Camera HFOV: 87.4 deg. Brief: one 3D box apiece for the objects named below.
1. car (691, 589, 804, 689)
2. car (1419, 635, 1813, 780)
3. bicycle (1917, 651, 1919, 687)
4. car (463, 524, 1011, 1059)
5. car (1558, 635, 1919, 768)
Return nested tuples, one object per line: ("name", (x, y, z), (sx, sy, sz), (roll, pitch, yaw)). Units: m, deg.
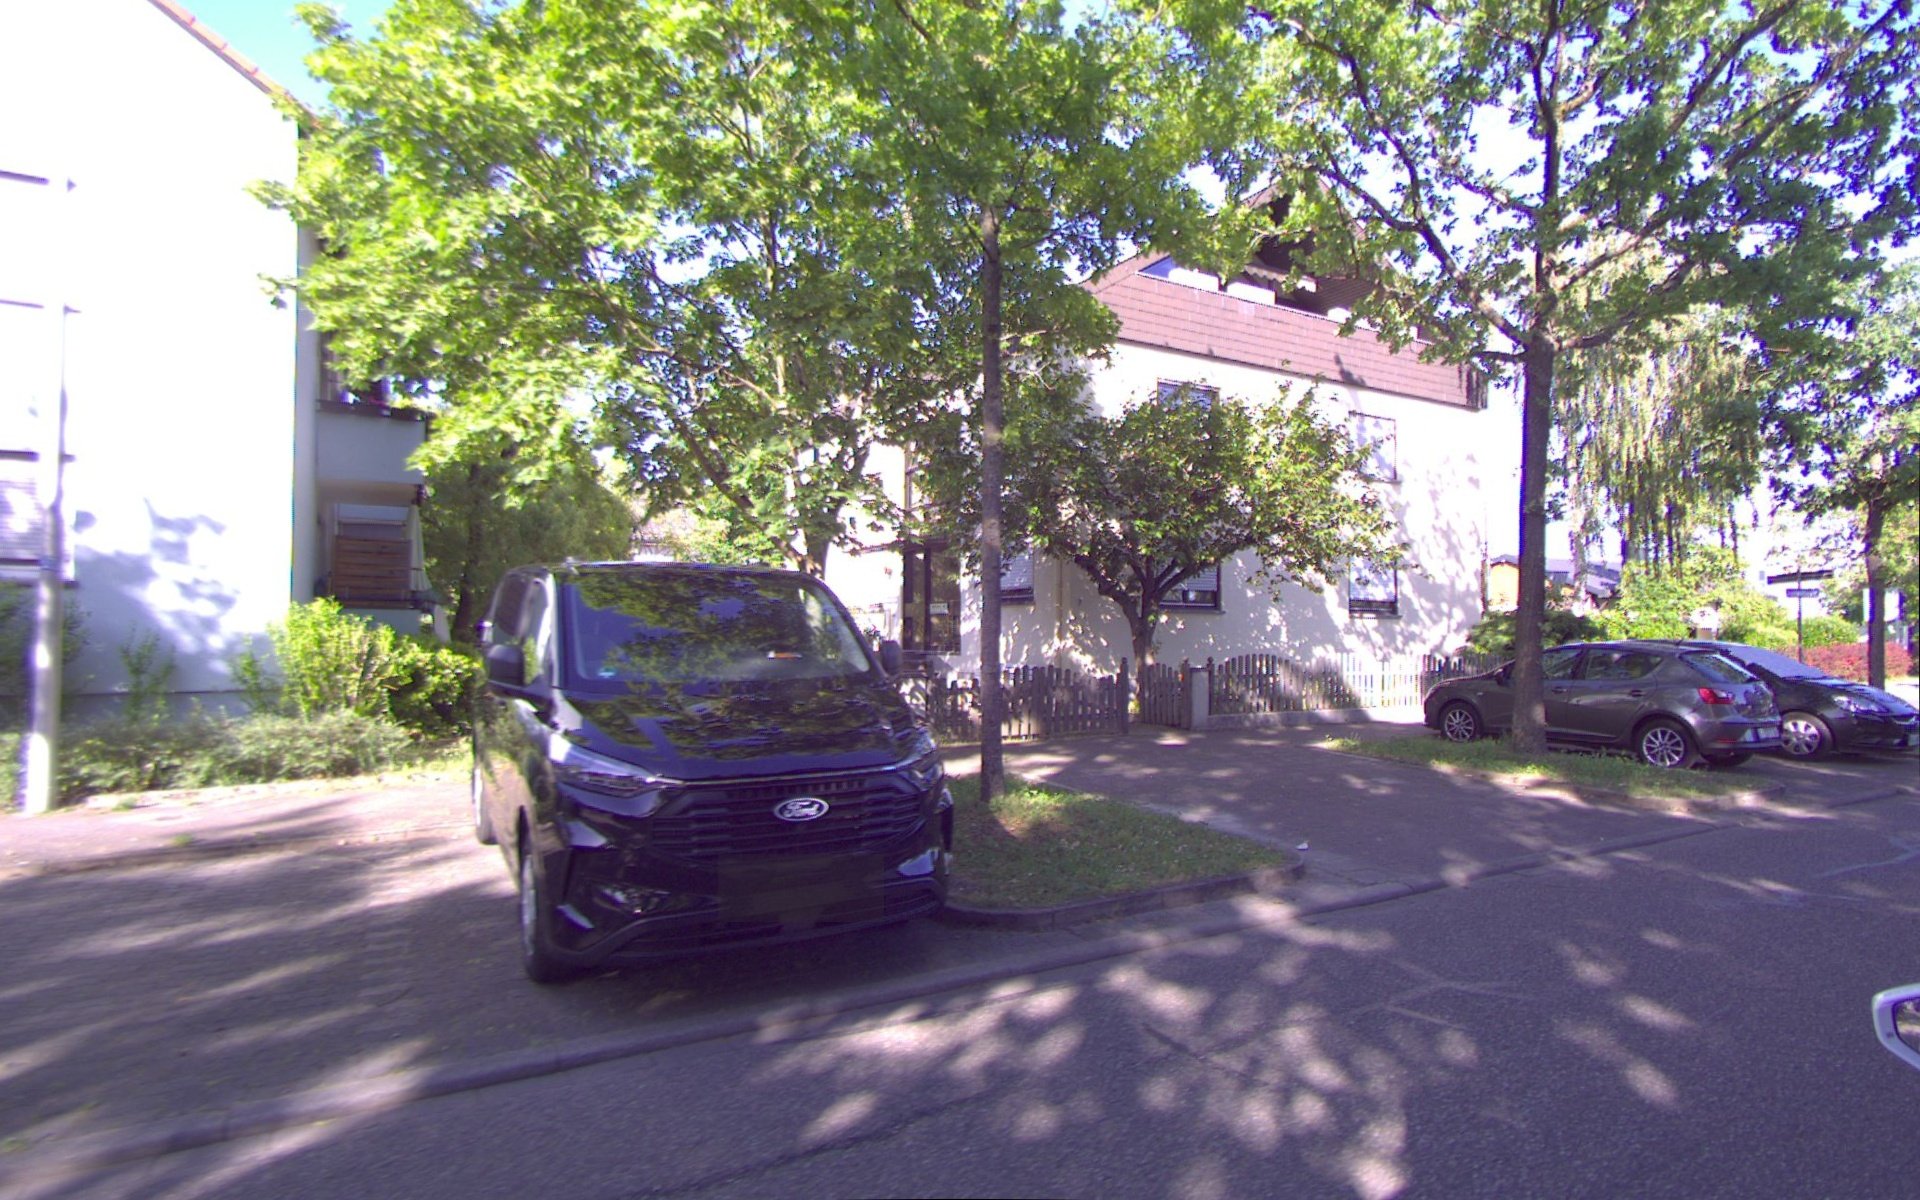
("car", (-5.822, 1.054, 27.124), (2.001, 2.457, 4.362), (2, -3, -25))
("car", (8.018, 1.204, 12.634), (1.751, 1.438, 3.801), (1, -1, -30))
("bicycle", (29.051, 2.048, 29.820), (1.871, 1.053, 0.445), (2, -3, -31))
("car", (-1.803, 0.730, 6.229), (1.995, 1.942, 4.756), (1, -1, -30))
("car", (10.674, 1.266, 13.896), (1.692, 1.478, 3.842), (1, -1, -28))
